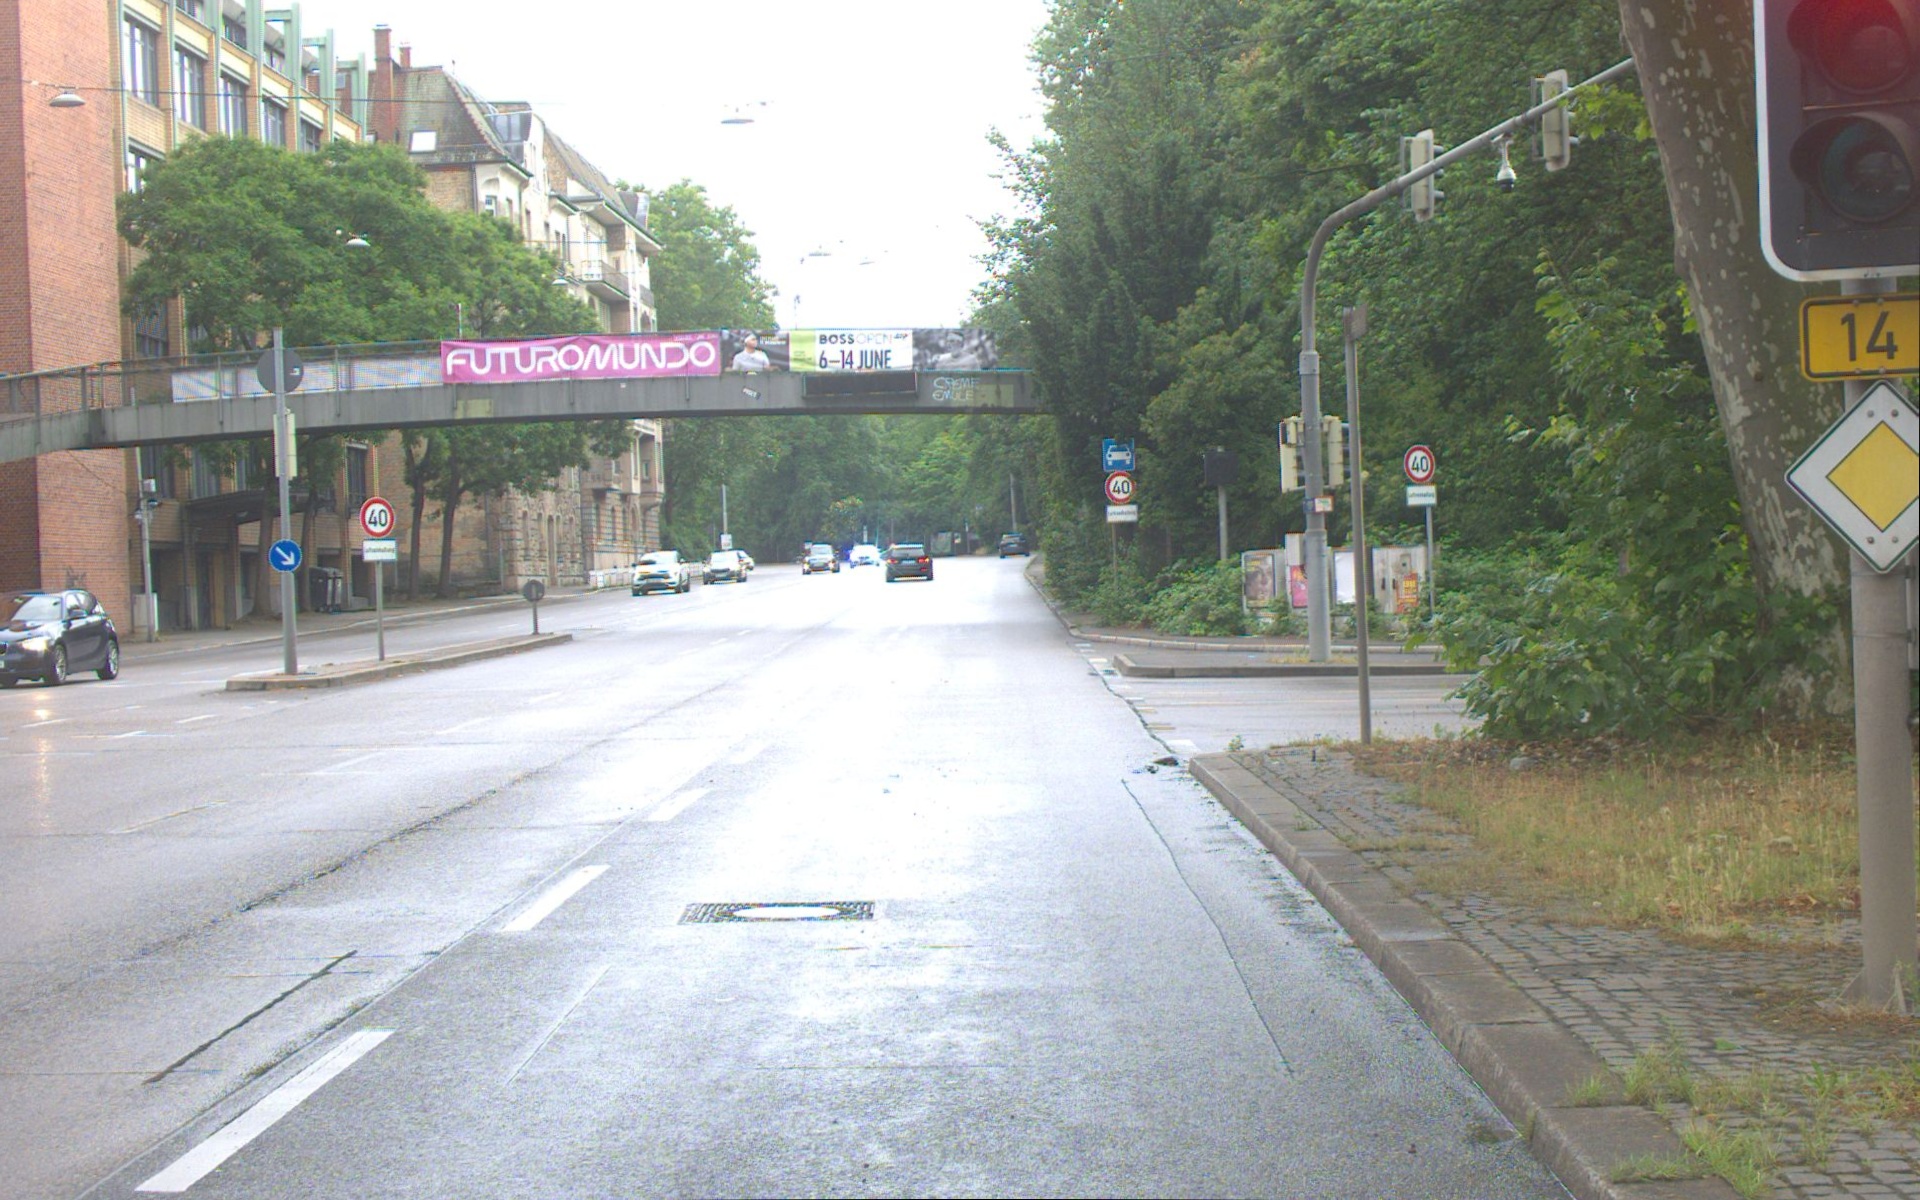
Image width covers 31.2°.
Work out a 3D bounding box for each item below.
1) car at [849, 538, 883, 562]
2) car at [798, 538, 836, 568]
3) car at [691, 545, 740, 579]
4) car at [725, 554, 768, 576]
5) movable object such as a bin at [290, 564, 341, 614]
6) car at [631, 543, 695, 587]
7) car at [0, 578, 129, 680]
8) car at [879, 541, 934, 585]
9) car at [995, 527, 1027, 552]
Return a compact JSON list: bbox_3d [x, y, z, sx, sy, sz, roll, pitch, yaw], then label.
[{"bbox_3d":[-5.677,-3.015,208.389,1.830,1.389,4.405,-3,0,1],"label":"car"},{"bbox_3d":[-7.280,-2.399,175.623,1.683,1.431,3.862,-2,0,1],"label":"car"},{"bbox_3d":[-11.134,-1.722,156.894,1.709,1.459,4.041,-2,0,3],"label":"car"},{"bbox_3d":[-15.703,-2.581,252.965,1.601,1.494,3.711,-3,1,-31],"label":"car"},{"bbox_3d":[-20.085,-0.359,107.126,1.282,1.513,1.273,-1,1,1],"label":"movable object such as a bin"},{"bbox_3d":[-11.352,-1.324,131.532,1.890,1.604,4.456,-1,0,2],"label":"car"},{"bbox_3d":[-13.777,0.430,50.881,1.686,1.414,4.214,-2,0,3],"label":"car"},{"bbox_3d":[-2.110,-1.450,133.857,2.004,1.638,4.376,-2,1,-2],"label":"car"},{"bbox_3d":[3.076,-3.694,209.583,1.842,1.448,3.777,1,1,-1],"label":"car"}]
